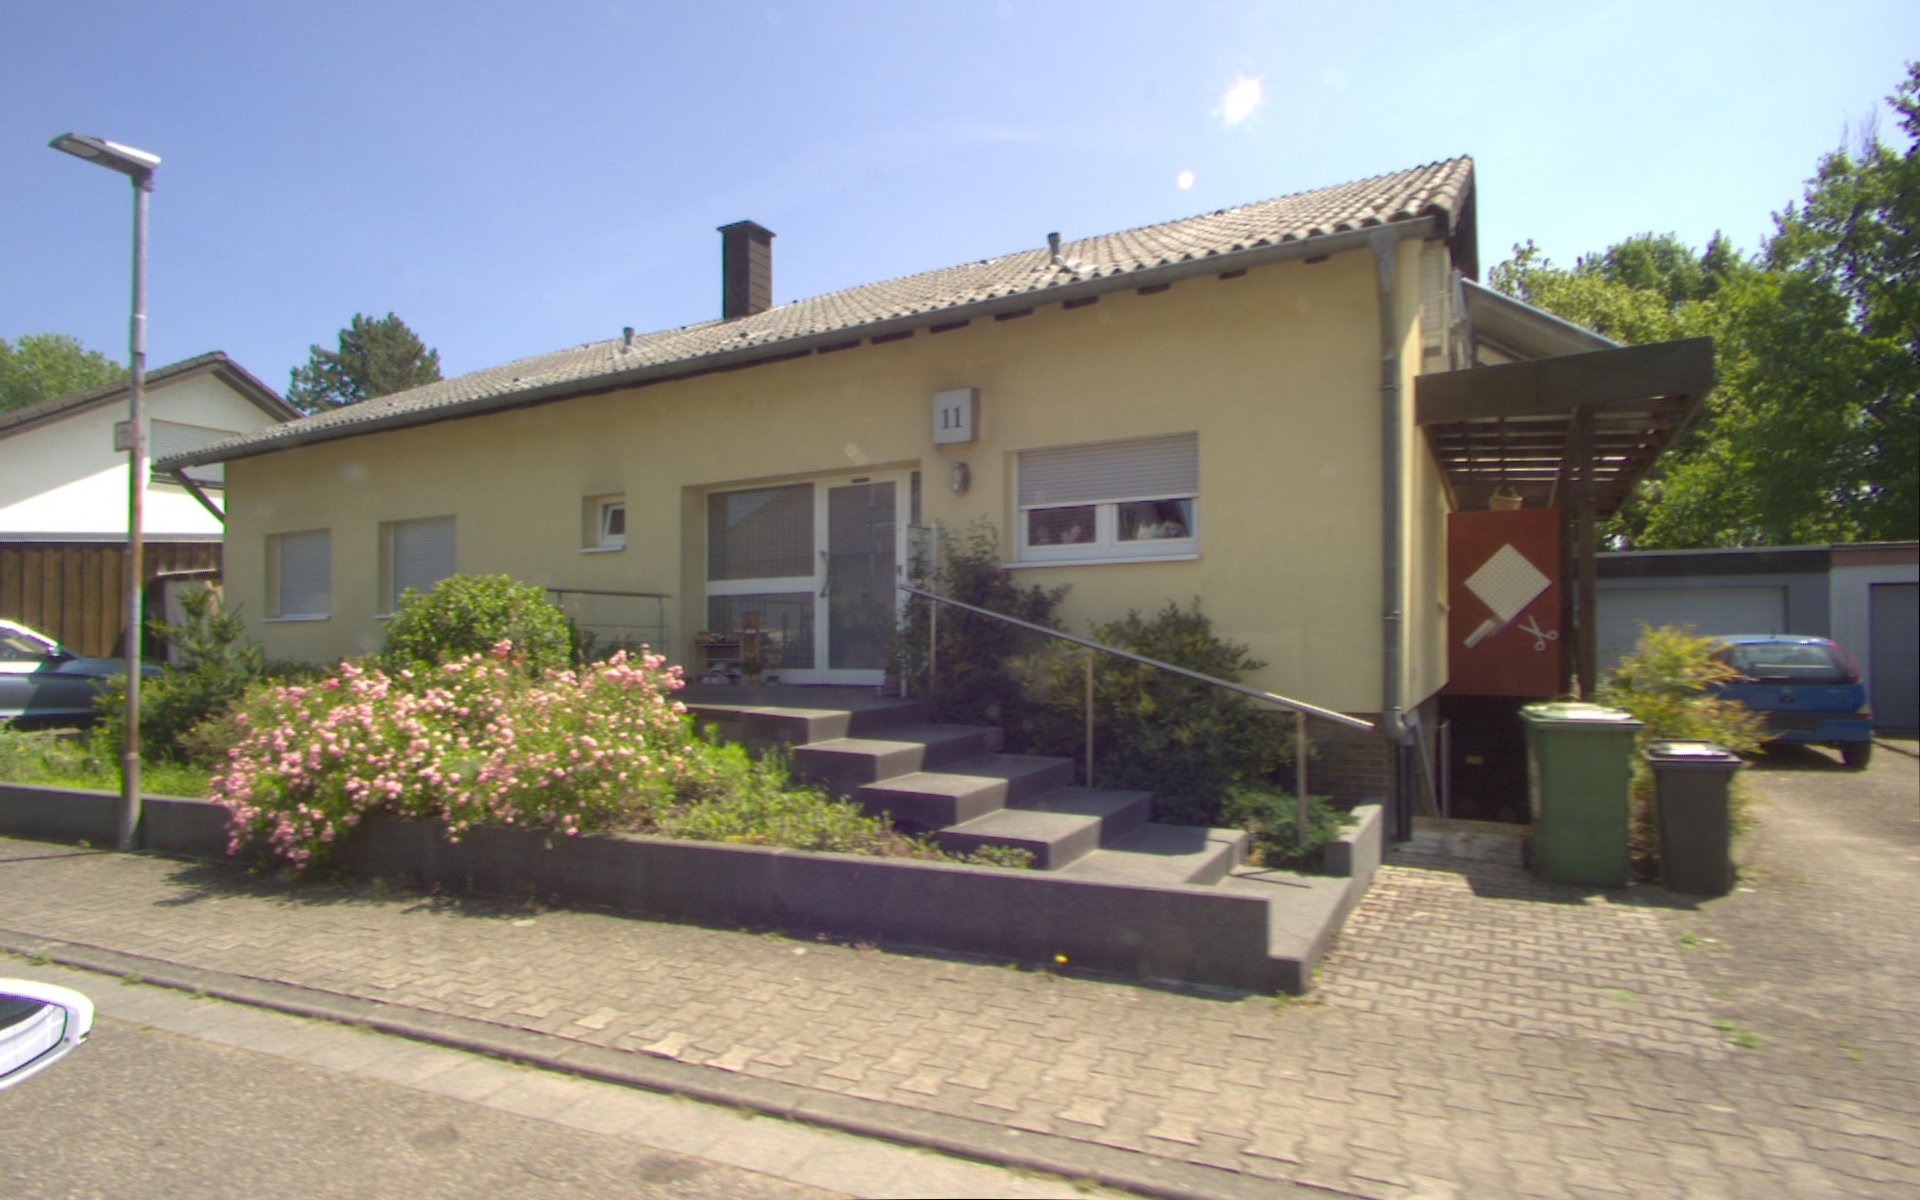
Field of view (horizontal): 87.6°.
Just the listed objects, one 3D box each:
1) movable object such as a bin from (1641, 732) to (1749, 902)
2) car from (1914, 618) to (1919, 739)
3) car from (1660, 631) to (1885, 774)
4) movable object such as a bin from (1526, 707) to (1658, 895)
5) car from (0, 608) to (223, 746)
[{"bbox_3d":[4.320,1.255,5.906,0.401,0.902,0.425,-1,-2,22],"label":"movable object such as a bin"},{"bbox_3d":[12.739,0.980,11.279,1.900,1.628,3.983,-2,-2,29],"label":"car"},{"bbox_3d":[9.882,1.144,12.428,1.595,1.474,3.240,-1,-1,29],"label":"car"},{"bbox_3d":[3.872,1.204,6.171,0.583,1.054,0.491,-1,-2,22],"label":"movable object such as a bin"},{"bbox_3d":[-12.615,0.977,12.995,1.685,1.724,4.618,-1,-1,32],"label":"car"}]
